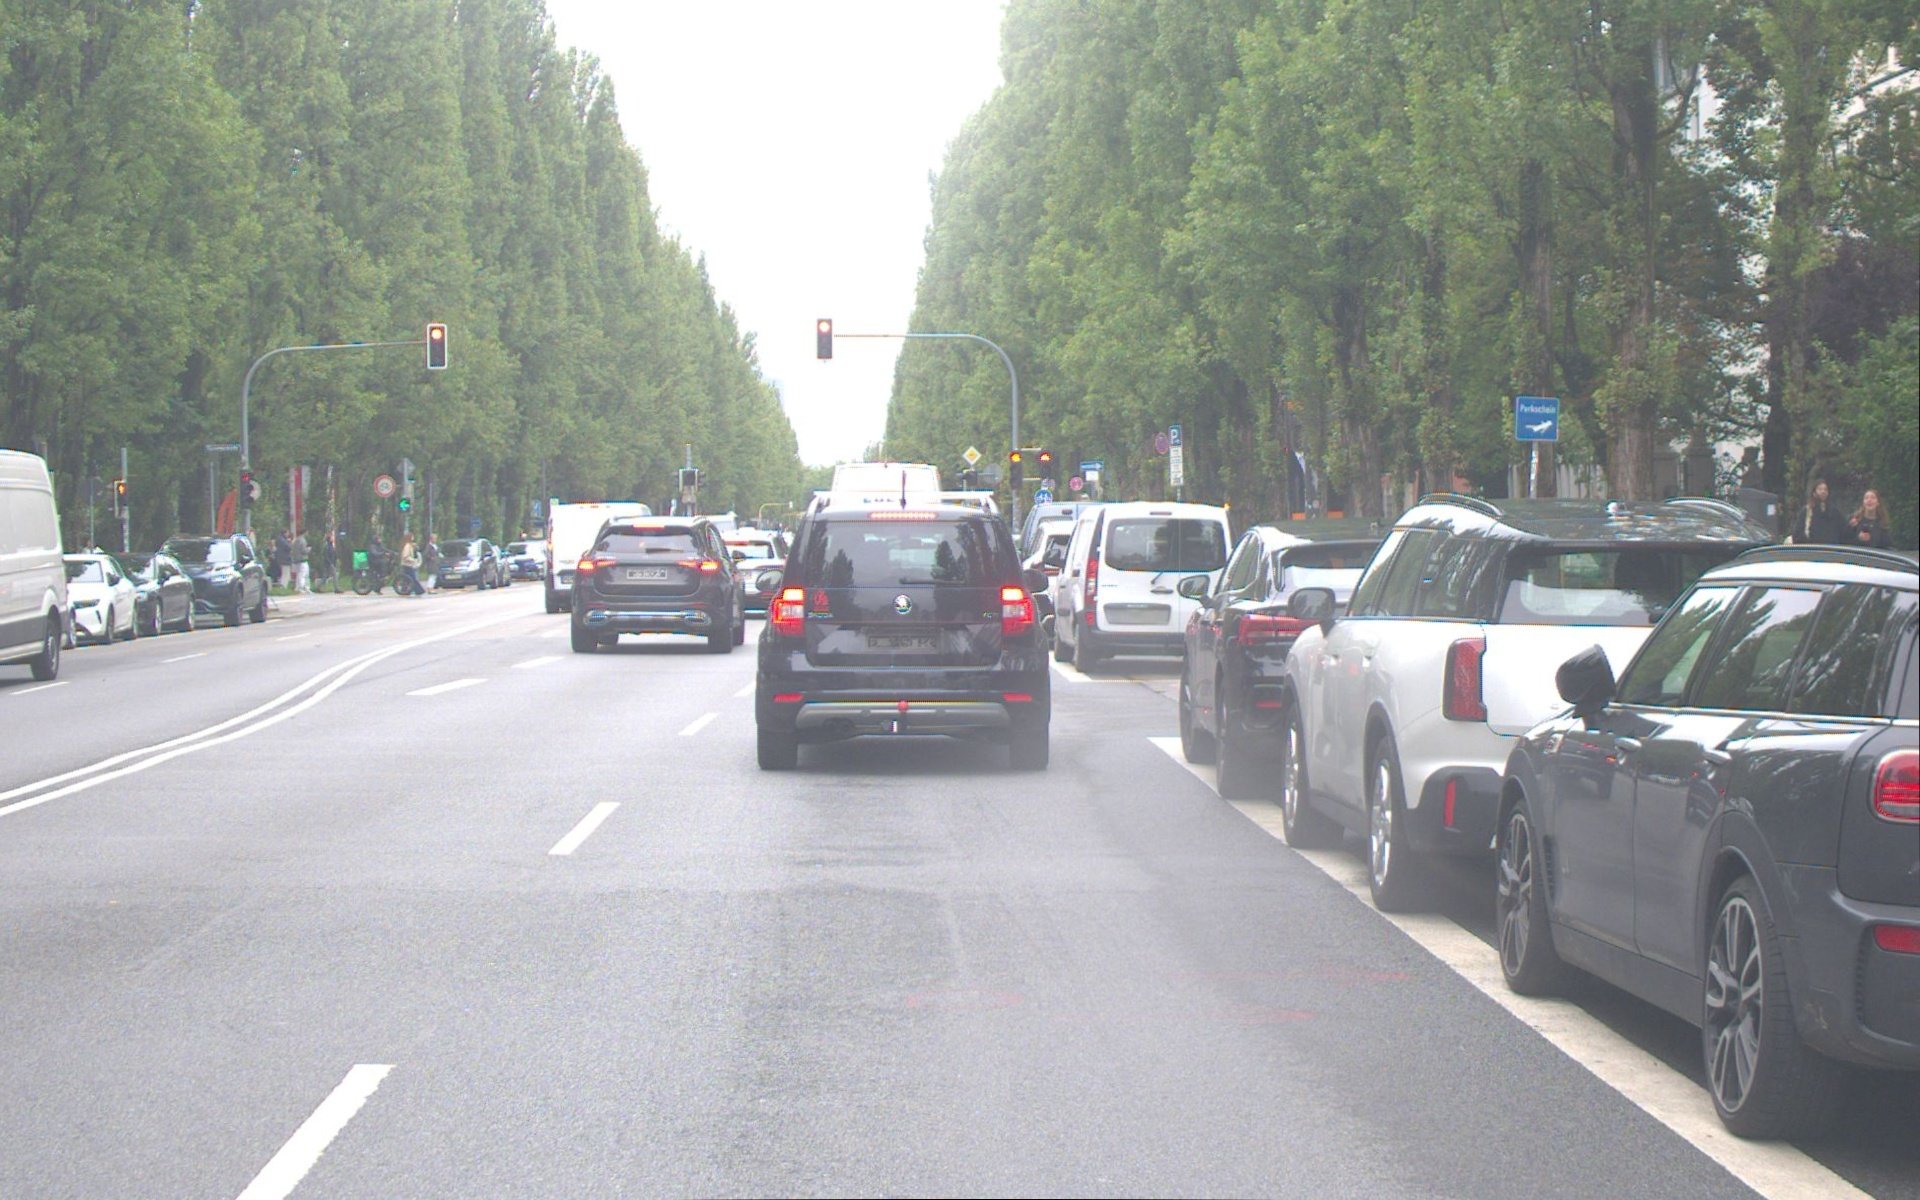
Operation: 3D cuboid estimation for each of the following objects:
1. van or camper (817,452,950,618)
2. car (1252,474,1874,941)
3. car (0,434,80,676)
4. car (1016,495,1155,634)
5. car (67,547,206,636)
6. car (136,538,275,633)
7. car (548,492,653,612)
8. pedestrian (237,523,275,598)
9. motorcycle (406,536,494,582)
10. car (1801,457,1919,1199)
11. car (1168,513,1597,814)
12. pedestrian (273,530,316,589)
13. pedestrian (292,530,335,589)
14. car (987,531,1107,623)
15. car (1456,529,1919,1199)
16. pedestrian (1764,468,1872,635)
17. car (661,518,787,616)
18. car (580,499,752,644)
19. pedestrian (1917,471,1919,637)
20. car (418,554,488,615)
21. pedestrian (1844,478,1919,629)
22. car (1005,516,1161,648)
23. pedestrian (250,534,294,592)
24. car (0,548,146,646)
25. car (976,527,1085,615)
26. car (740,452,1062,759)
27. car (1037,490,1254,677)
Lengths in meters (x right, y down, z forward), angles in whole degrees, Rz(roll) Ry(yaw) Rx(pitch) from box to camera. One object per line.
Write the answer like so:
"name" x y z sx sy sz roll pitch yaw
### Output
"van or camper" -1.259 -1.059 55.145 1.975 2.539 4.025 -1 1 -3
"car" 2.384 0.327 14.760 1.742 1.669 4.580 -1 2 -1
"car" -10.997 -0.430 35.718 2.227 2.474 6.759 -3 1 -3
"car" 1.763 -0.544 49.500 1.735 1.888 4.025 -1 2 -1
"car" -14.353 -0.176 60.106 1.623 1.384 4.168 -3 1 -4
"car" -14.456 -0.316 66.053 1.849 1.648 4.697 -3 1 -4
"car" -6.540 -0.889 62.791 1.781 2.104 4.026 -1 1 -4
"pedestrian" -14.876 -0.836 72.662 0.660 1.572 0.530 -1 1 -1
"motorcycle" -14.546 -1.170 98.116 2.363 1.265 0.930 0 1 -1
"car" 2.727 0.568 4.937 1.783 1.612 4.638 -1 2 -1
"car" 2.337 0.275 20.135 1.880 1.535 4.464 -1 2 -1
"pedestrian" -18.886 -1.146 97.582 0.880 1.649 0.878 -2 1 -39
"pedestrian" -18.234 -1.137 96.959 0.880 1.649 0.878 -2 1 -39
"car" 1.375 -0.395 55.369 1.735 1.382 3.563 -1 2 -1
"car" 2.640 0.578 9.836 1.702 1.514 4.295 -1 2 -1
"pedestrian" 9.068 -0.513 36.343 0.853 1.711 0.867 -2 1 -2
"car" -3.994 -0.589 58.721 1.993 1.555 4.001 -1 2 -2
"car" -3.540 -0.388 42.017 1.781 1.614 4.025 -3 2 -1
"pedestrian" 11.004 -0.514 38.059 0.486 1.856 0.638 -1 1 -18
"car" -15.637 -0.489 106.170 1.688 1.776 3.775 -1 1 -1
"pedestrian" 9.768 -0.495 36.383 0.567 1.573 0.867 -1 1 -2
"car" 1.538 -0.274 44.224 1.741 1.587 4.212 -1 2 -1
"pedestrian" -19.710 -1.067 98.502 0.880 1.649 0.878 -2 1 -39
"car" -14.100 -0.077 54.553 1.623 1.384 4.168 -3 1 -5
"car" 1.220 -0.540 60.872 1.735 1.470 3.563 -1 2 -1
"car" -0.391 -0.010 22.208 1.855 1.764 4.000 1 1 -1
"car" 1.937 -0.226 37.019 1.851 1.875 4.169 -1 2 -3
